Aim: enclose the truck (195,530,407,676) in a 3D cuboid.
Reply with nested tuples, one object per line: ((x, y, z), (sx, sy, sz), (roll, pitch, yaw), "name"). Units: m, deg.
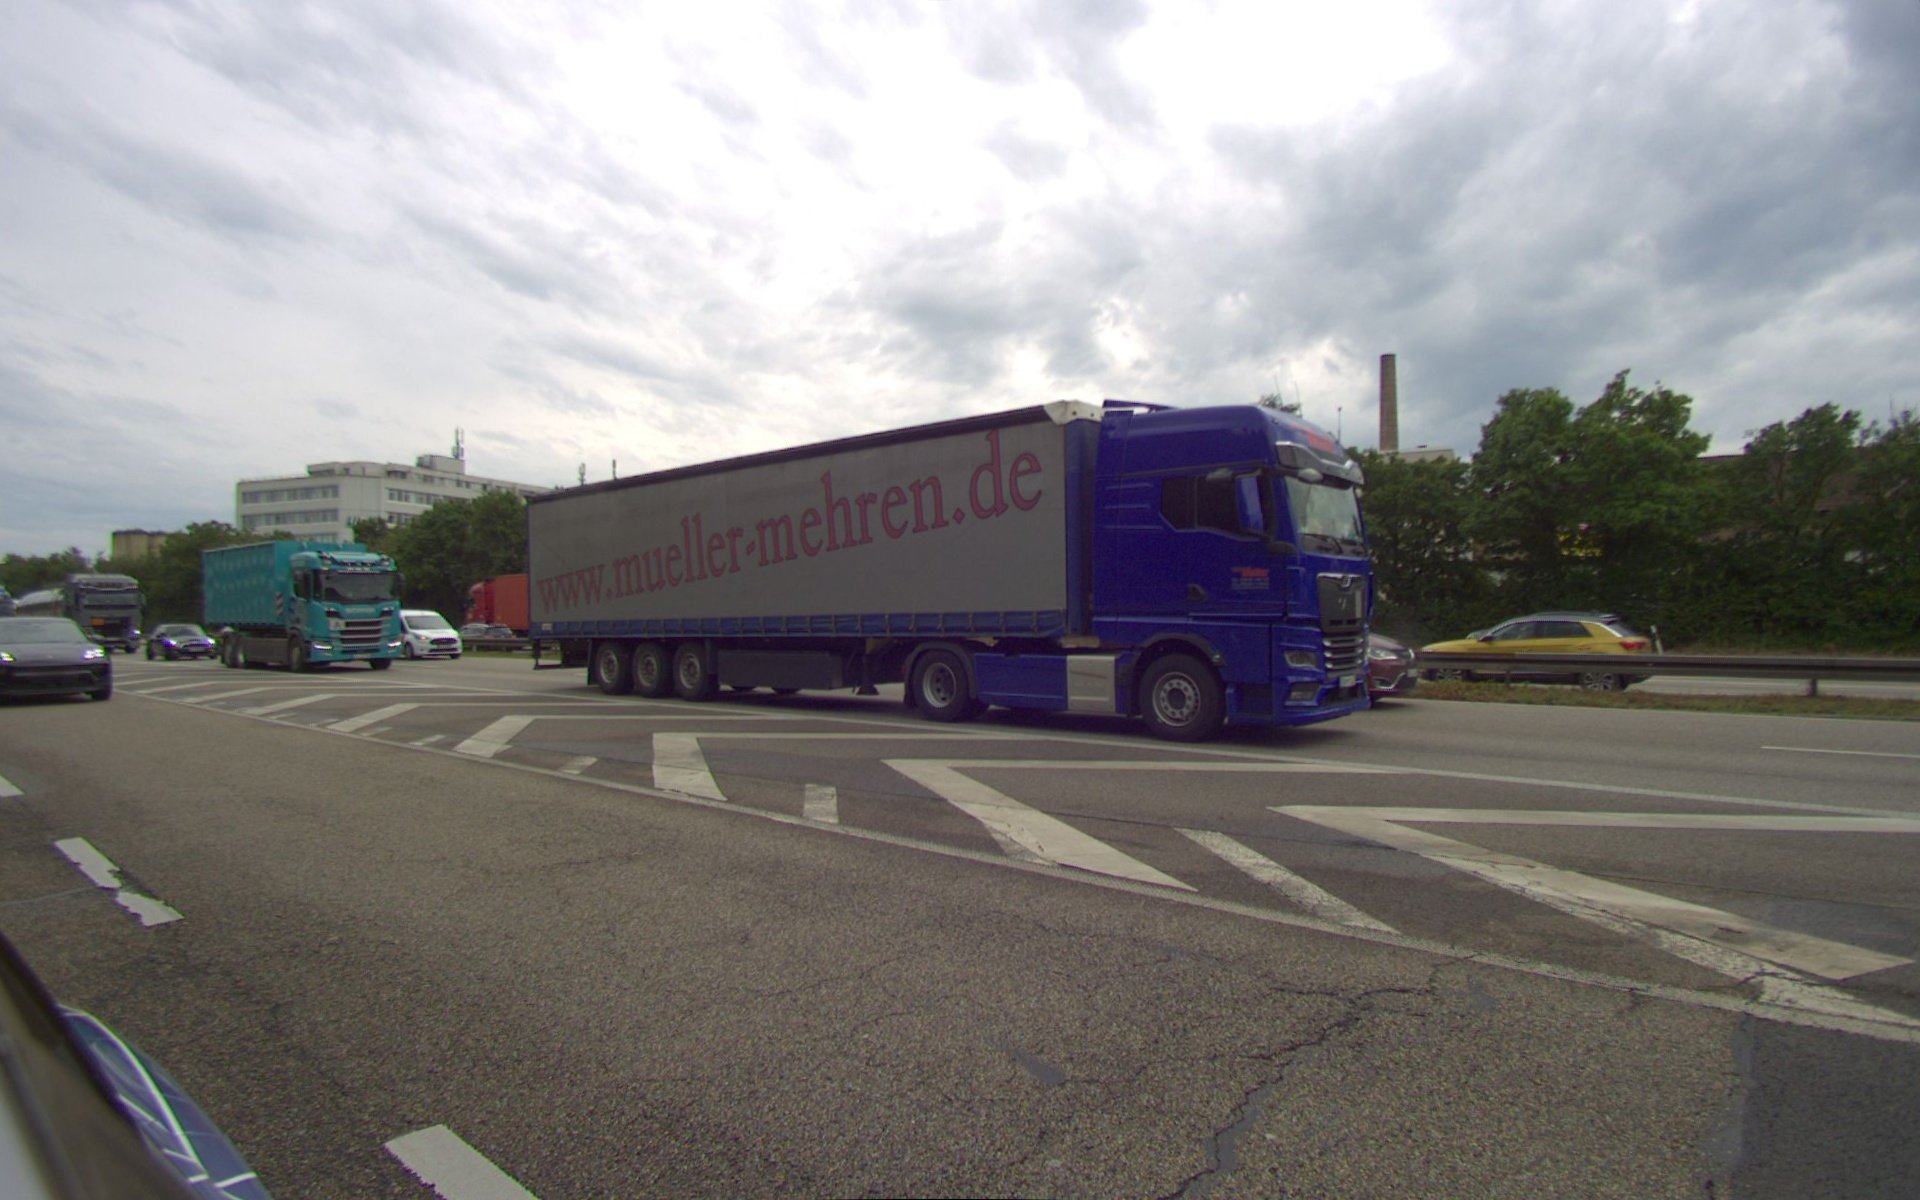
((-21.263, 0.199, 32.313), (10.112, 4.031, 2.667), (-2, -2, 39), "truck")

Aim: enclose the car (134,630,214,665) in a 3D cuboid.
((-31.745, 1.879, 40.855), (3.996, 1.332, 1.735), (-2, -2, 40), "car")

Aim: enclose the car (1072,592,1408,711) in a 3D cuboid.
((4.449, 0.793, 16.700), (5.082, 1.691, 1.766), (-2, -2, 41), "car")

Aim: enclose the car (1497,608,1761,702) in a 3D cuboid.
((12.539, 0.984, 19.115), (3.997, 1.604, 1.580), (-2, -2, 40), "car")

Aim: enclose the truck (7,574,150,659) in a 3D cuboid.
((-46.229, 0.933, 52.845), (13.128, 3.955, 3.287), (-2, -2, 38), "truck")

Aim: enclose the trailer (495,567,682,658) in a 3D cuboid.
((-19.107, 0.727, 51.221), (13.344, 4.095, 2.736), (-2, -2, 41), "trailer")

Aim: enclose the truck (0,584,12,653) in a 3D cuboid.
((-66.002, 1.293, 66.614), (13.979, 4.263, 2.781), (-2, -2, 36), "truck")

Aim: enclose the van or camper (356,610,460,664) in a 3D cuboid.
((-20.630, 1.348, 37.735), (4.584, 1.907, 1.700), (-2, -1, 37), "van or camper")

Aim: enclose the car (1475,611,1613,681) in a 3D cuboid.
((17.845, 1.387, 31.011), (3.417, 2.029, 1.537), (-2, -2, 41), "car")

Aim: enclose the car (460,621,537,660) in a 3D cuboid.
((-21.484, 1.855, 47.051), (3.997, 1.732, 1.755), (-2, -2, 41), "car")

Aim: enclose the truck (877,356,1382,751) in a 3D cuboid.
((1.960, -0.404, 13.130), (5.923, 3.991, 2.641), (-2, -2, 40), "truck")

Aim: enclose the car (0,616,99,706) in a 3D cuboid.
((-19.401, 1.187, 20.696), (4.747, 1.676, 1.882), (-1, -2, 39), "car")

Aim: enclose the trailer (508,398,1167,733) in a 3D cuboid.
((-3.281, -0.258, 17.611), (13.909, 4.005, 2.646), (-2, -2, 40), "trailer")

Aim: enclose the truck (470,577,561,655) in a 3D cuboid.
((-24.606, 0.914, 55.960), (4.904, 4.095, 2.734), (-2, -2, 41), "truck")
